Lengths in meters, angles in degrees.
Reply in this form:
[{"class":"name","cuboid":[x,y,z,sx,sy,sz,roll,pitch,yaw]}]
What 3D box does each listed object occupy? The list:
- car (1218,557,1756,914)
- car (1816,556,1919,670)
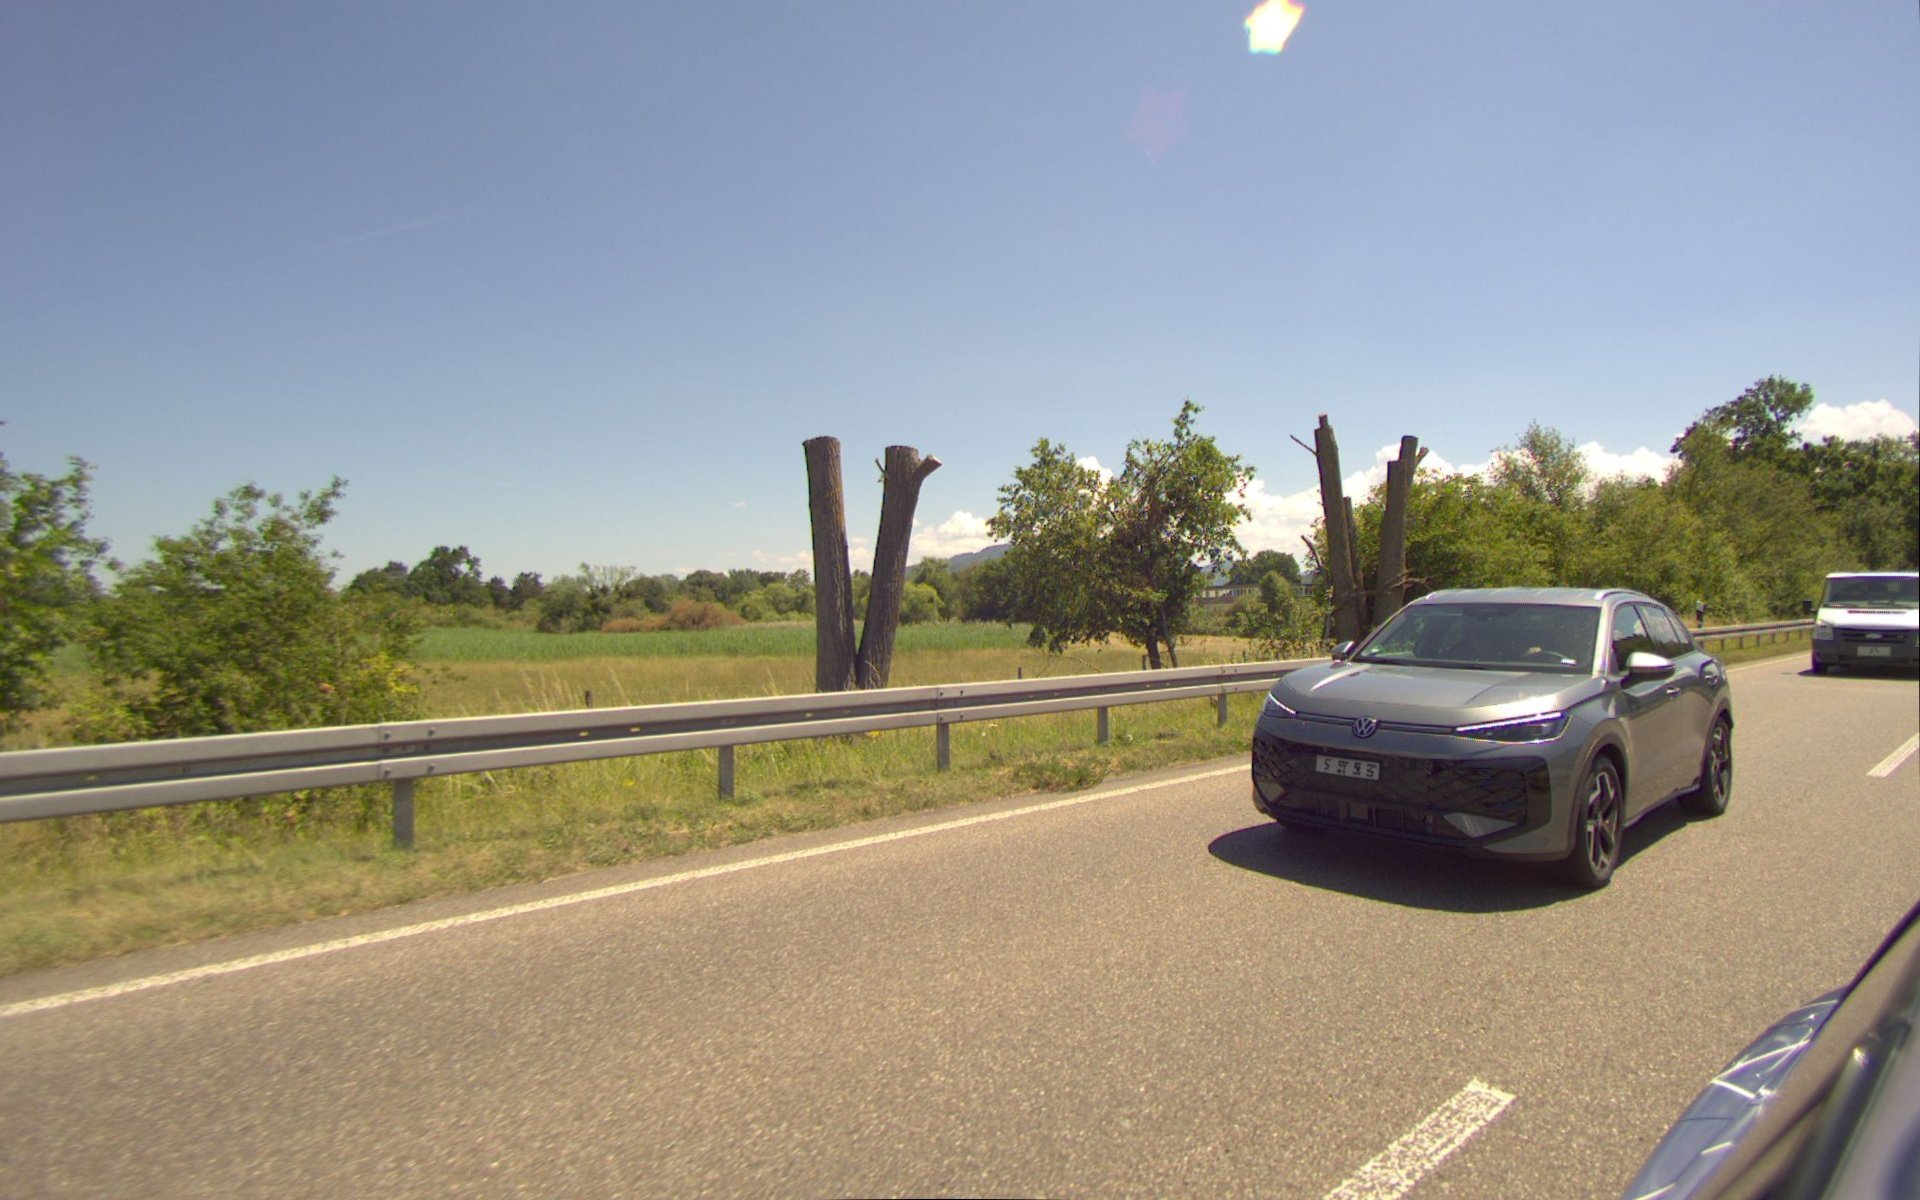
[{"class":"car","cuboid":[3.535,0.595,6.461,3.950,1.573,1.787,0,0,-42]},{"class":"car","cuboid":[18.544,0.230,19.854,4.948,2.014,2.008,0,-1,-42]}]
